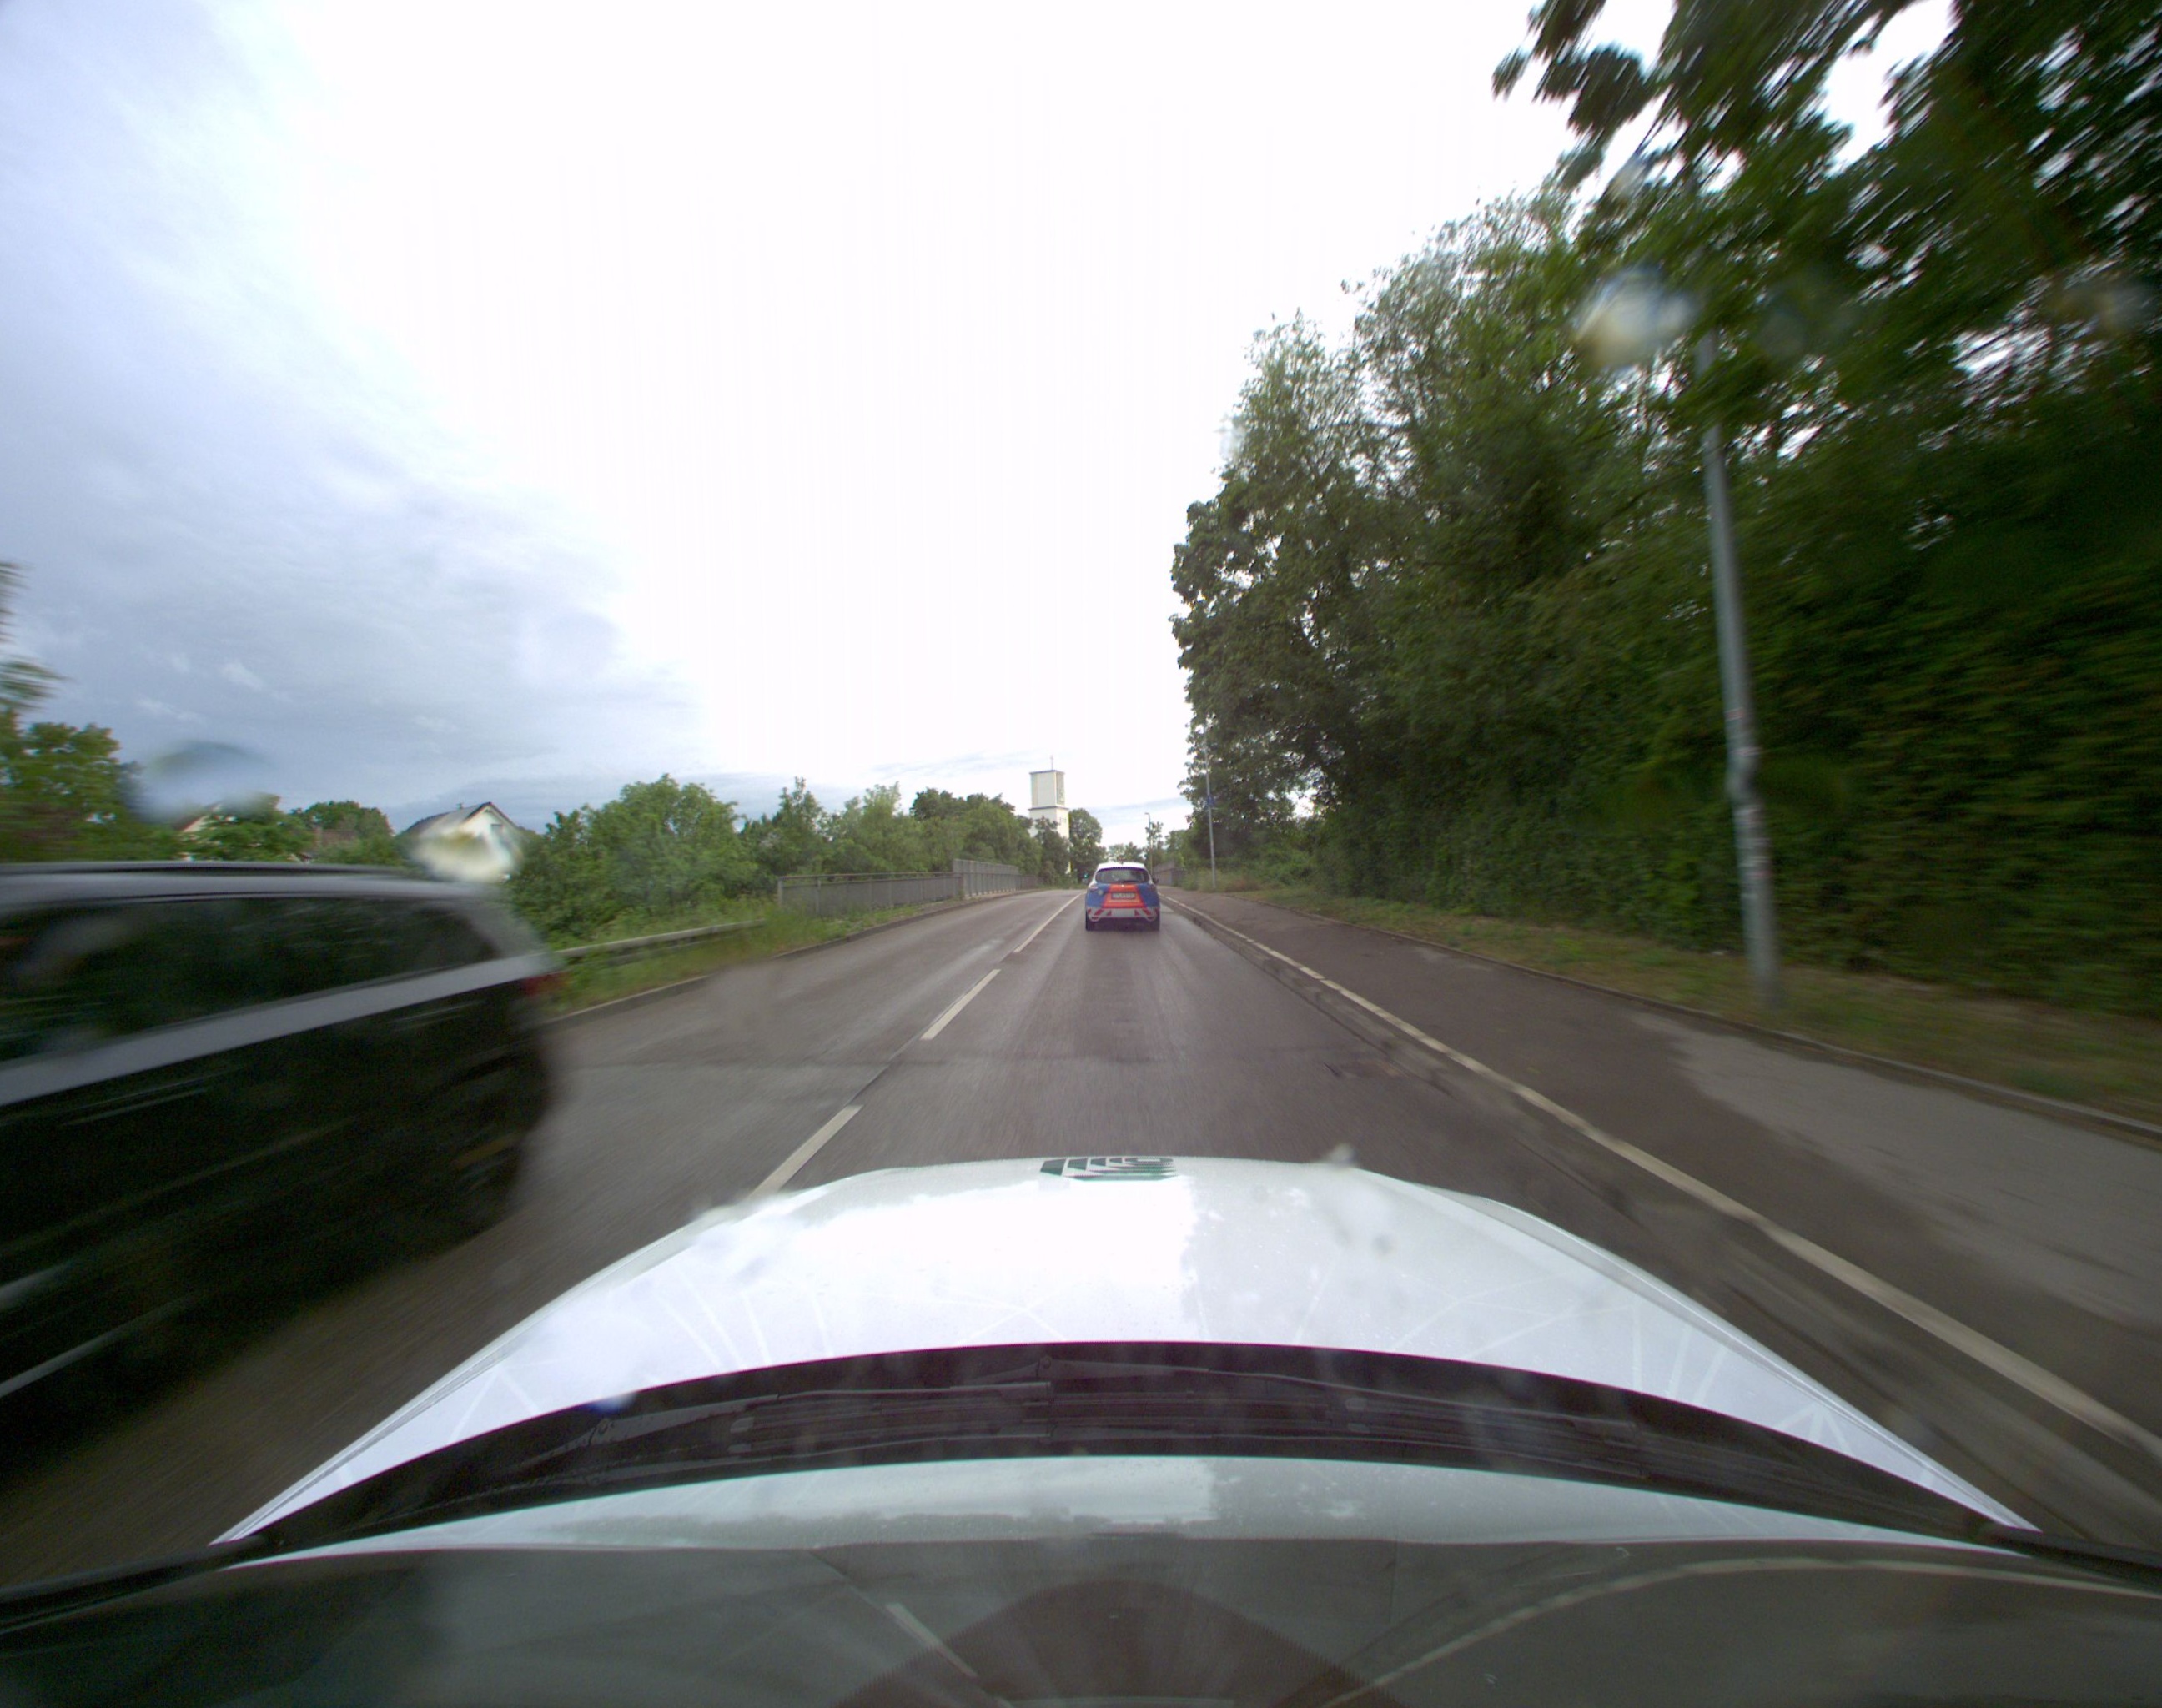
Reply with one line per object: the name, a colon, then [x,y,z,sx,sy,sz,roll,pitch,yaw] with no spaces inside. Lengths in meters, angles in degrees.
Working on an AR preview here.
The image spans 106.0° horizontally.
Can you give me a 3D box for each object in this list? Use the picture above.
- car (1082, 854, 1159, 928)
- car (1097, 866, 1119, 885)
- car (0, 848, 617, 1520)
car: [0.936,0.859,19.778,1.651,1.593,3.569,-2,-1,2]
car: [2.424,1.927,74.623,1.797,1.590,3.562,-3,-1,0]
car: [-3.420,0.805,2.332,1.724,1.585,4.081,-2,0,1]
